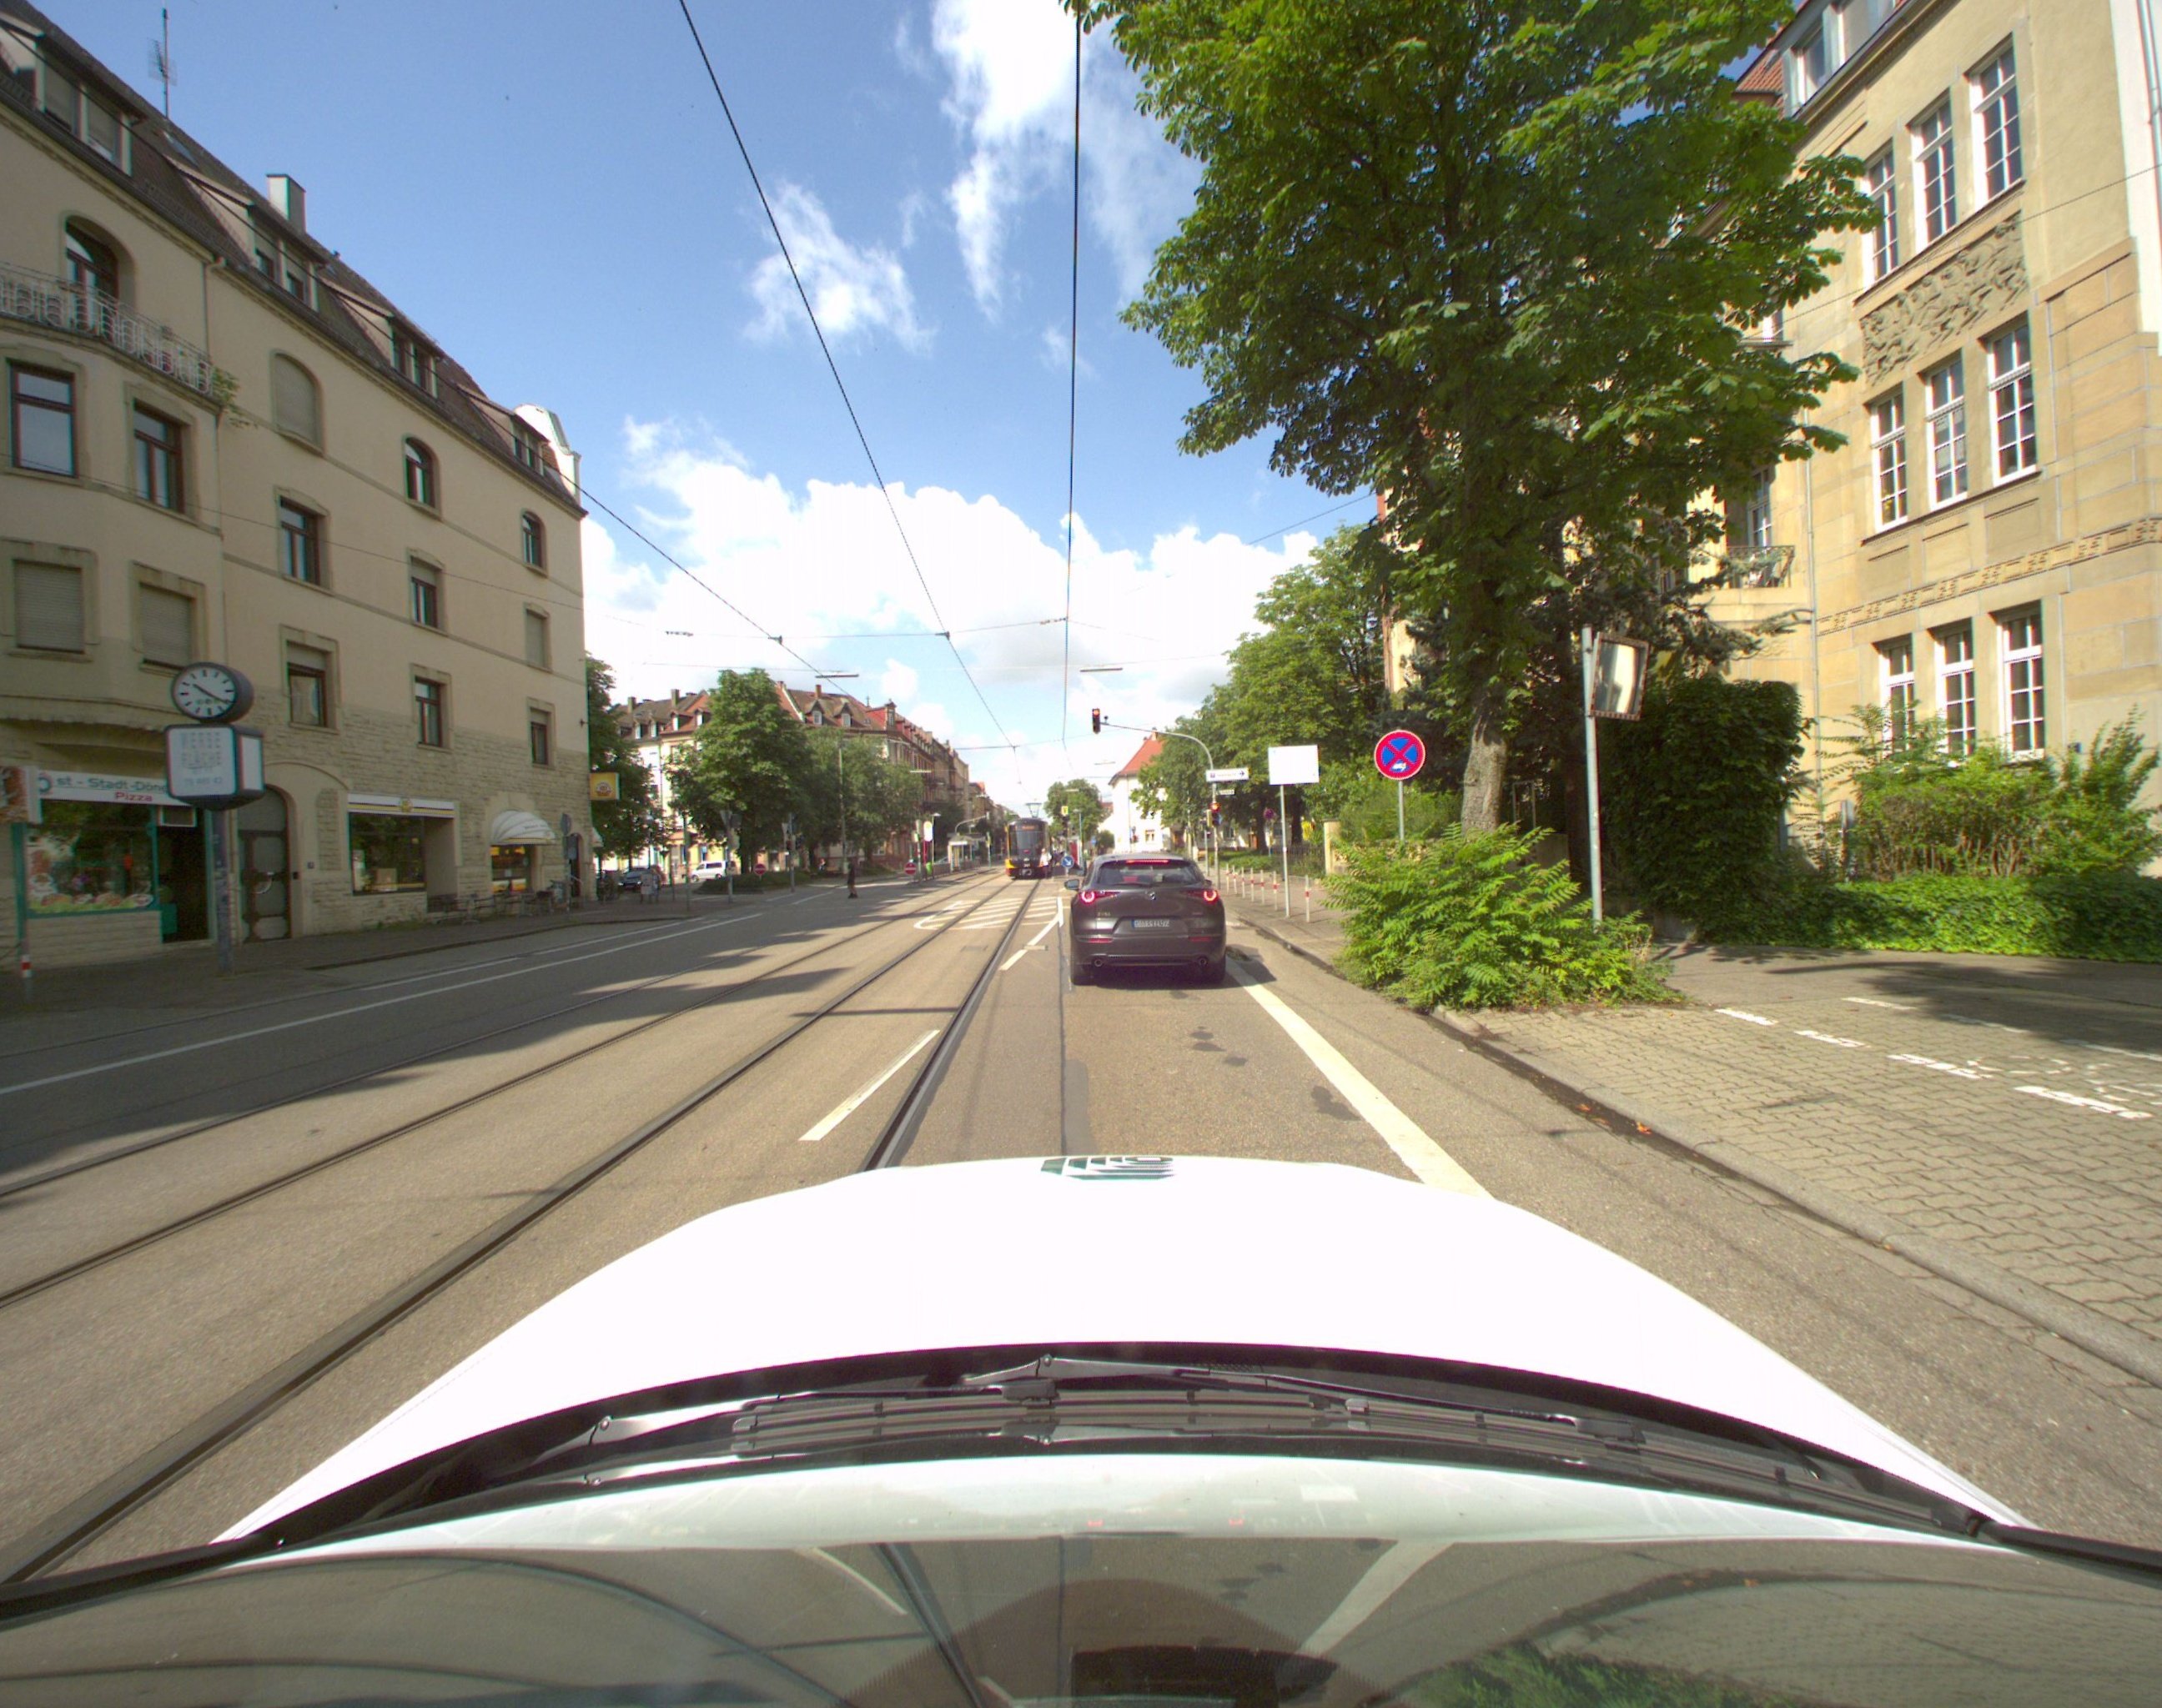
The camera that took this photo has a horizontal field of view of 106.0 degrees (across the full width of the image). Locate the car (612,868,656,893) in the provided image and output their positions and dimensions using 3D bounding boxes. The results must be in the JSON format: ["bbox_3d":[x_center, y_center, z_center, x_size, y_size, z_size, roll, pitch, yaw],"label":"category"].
[{"bbox_3d":[-30.127,1.773,54.996,1.760,1.518,4.044,-2,0,-17],"label":"car"}]

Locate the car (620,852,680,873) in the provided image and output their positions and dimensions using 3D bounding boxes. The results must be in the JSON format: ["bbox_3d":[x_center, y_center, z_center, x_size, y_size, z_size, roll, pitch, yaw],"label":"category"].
[{"bbox_3d":[-36.776,0.699,69.575,3.971,1.596,2.001,-2,0,2],"label":"car"}]

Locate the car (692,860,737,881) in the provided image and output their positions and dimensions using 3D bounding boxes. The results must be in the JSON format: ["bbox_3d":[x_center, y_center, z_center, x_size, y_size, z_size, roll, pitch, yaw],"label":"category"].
[{"bbox_3d":[-36.573,1.609,81.300,3.950,1.903,2.012,-2,0,26],"label":"car"}]

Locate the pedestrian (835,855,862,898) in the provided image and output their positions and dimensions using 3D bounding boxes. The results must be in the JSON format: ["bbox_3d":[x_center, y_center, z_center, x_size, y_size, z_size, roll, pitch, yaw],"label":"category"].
[{"bbox_3d":[-9.452,0.915,33.132,0.746,1.684,0.702,-2,0,11],"label":"pedestrian"}]

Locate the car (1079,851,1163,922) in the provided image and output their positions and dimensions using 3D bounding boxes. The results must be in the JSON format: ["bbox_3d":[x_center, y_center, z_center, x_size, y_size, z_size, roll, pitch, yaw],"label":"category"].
[{"bbox_3d":[0.907,0.679,19.382,1.772,1.499,4.001,0,0,1],"label":"car"}]

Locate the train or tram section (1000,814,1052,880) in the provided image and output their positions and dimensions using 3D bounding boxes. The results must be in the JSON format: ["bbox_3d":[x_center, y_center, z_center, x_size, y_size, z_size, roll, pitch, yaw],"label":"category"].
[{"bbox_3d":[-3.270,-0.512,51.884,2.745,3.490,14.397,-2,1,-2],"label":"train or tram section"}]

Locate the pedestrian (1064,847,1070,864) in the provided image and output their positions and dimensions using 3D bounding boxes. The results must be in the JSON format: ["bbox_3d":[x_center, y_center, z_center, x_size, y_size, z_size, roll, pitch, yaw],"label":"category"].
[{"bbox_3d":[-1.266,0.145,71.525,0.449,1.434,0.474,-2,0,-3],"label":"pedestrian"}]

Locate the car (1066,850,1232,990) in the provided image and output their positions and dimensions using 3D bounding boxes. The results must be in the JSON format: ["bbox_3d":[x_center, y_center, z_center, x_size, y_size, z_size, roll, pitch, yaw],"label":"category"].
[{"bbox_3d":[0.787,0.701,10.772,1.772,1.499,4.001,0,0,1],"label":"car"}]

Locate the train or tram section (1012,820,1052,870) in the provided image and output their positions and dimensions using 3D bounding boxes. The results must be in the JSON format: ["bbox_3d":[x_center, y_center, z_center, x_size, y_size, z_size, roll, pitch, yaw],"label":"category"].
[{"bbox_3d":[-3.774,-0.777,66.273,2.745,3.490,14.397,-2,1,-2],"label":"train or tram section"}]

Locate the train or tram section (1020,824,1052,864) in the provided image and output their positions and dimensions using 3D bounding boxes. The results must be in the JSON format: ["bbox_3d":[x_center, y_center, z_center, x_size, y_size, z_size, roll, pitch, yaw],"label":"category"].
[{"bbox_3d":[-4.286,-1.043,80.647,2.745,3.490,14.397,-2,1,-2],"label":"train or tram section"}]

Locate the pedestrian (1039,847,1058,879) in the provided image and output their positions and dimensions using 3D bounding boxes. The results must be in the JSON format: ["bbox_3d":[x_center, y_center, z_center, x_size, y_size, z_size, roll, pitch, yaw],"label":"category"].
[{"bbox_3d":[-1.773,0.480,44.244,0.720,1.705,0.817,-2,0,-24],"label":"pedestrian"}]
